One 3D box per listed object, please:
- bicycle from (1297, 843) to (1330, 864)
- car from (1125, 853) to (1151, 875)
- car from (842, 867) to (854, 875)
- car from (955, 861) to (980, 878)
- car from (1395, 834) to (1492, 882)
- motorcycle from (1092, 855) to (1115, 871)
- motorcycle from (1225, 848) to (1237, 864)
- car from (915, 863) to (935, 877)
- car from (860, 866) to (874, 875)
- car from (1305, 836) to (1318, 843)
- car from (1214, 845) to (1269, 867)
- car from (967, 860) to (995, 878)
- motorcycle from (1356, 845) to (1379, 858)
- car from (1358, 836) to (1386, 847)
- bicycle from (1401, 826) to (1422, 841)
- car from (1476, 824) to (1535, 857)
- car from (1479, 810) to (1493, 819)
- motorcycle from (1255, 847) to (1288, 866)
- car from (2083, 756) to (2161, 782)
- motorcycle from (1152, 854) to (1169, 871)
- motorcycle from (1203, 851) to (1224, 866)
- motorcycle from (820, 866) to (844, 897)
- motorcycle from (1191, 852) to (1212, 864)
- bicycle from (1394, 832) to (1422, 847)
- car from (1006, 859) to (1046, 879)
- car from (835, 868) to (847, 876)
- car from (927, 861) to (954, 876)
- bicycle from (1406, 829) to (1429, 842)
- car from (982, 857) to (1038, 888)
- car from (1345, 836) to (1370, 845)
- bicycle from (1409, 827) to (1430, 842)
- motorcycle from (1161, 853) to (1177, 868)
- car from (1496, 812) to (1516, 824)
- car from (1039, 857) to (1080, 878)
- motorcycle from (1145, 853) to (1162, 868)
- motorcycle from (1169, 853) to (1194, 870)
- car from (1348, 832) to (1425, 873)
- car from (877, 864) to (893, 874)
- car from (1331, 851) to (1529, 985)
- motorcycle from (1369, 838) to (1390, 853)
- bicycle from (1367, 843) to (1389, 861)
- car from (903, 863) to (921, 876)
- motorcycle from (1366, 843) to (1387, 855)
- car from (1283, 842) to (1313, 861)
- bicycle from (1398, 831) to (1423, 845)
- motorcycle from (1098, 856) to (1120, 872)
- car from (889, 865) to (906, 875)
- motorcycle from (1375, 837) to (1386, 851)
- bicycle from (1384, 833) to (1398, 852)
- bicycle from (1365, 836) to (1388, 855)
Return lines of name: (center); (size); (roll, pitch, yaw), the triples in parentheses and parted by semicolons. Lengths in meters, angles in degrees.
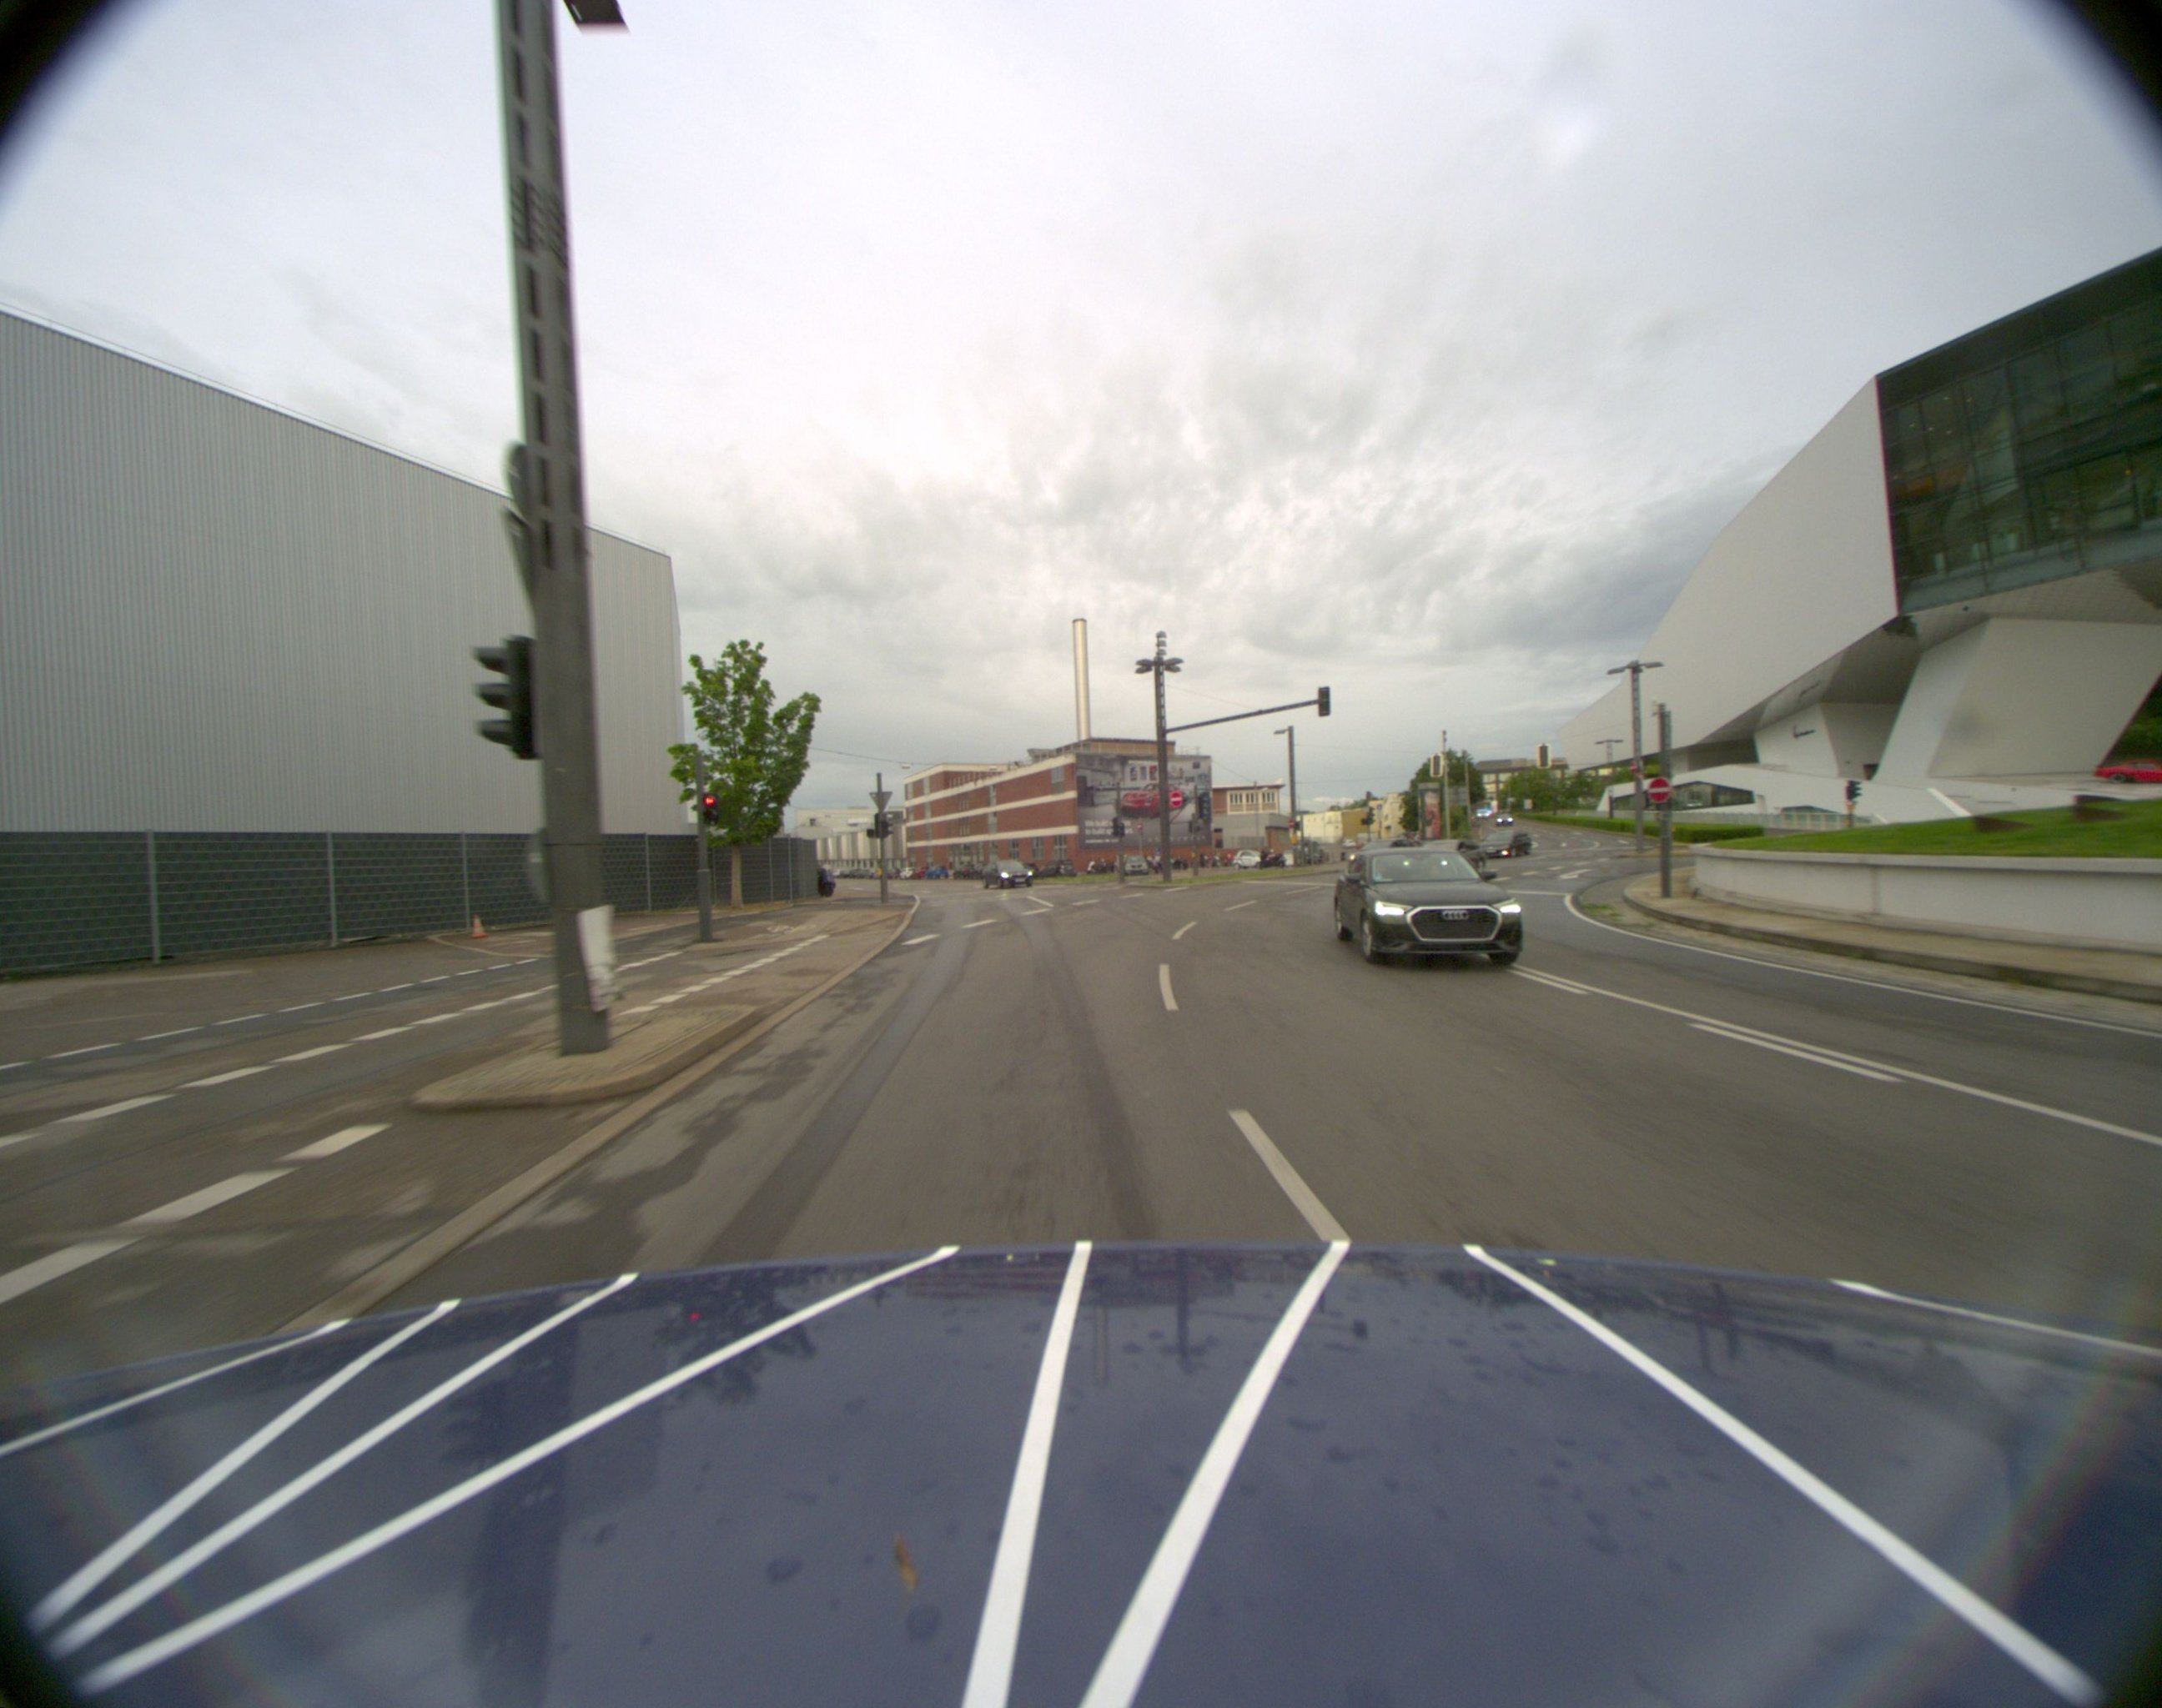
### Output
bicycle: (14.708, -0.016, 48.053); (2.074, 1.124, 0.421); (-6, 2, -17)
car: (4.123, 0.700, 55.284); (1.624, 1.495, 3.247); (-3, 1, 2)
car: (-40.443, 2.999, 131.838); (1.461, 1.234, 3.364); (-6, 2, -24)
car: (-11.243, 1.513, 74.965); (1.461, 1.435, 3.382); (-6, 2, -24)
car: (14.056, 0.134, 29.335); (4.308, 1.430, 1.813); (-6, 3, -42)
motorcycle: (1.813, 0.735, 61.205); (1.649, 1.105, 0.544); (-6, 2, -19)
motorcycle: (13.304, 0.157, 67.236); (0.523, 1.326, 1.671); (-4, 2, 27)
car: (-18.354, 1.832, 89.097); (1.461, 1.435, 3.382); (-6, 2, -24)
car: (-33.288, 2.565, 117.998); (1.461, 1.234, 3.364); (-6, 2, -24)
car: (51.755, -3.145, 170.456); (1.719, 1.417, 4.000); (-3, 1, 2)
car: (12.978, 0.163, 61.437); (3.989, 1.480, 1.571); (-3, 1, 35)
car: (-9.266, 1.351, 70.303); (1.461, 1.435, 3.458); (-6, 2, -24)
motorcycle: (23.274, -0.186, 61.736); (1.613, 0.917, 0.482); (-4, 2, 19)
car: (47.578, -2.062, 124.403); (3.993, 1.417, 1.722); (-3, 1, 13)
bicycle: (27.136, -1.661, 62.383); (1.541, 1.149, 0.451); (-1, 5, 22)
car: (23.741, -0.757, 42.447); (4.075, 1.466, 1.745); (-6, 3, -45)
car: (78.590, -7.622, 147.598); (1.814, 1.430, 4.308); (-2, 1, 21)
motorcycle: (12.452, 0.195, 49.700); (0.489, 1.139, 2.089); (-7, 3, -42)
car: (59.512, -4.737, 42.157); (2.001, 1.378, 4.233); (-4, 9, -20)
motorcycle: (5.762, 0.612, 55.446); (0.495, 1.140, 1.721); (-6, 2, -18)
motorcycle: (11.405, 0.372, 65.419); (1.716, 1.145, 0.586); (-3, 3, 42)
motorcycle: (-11.208, 1.219, 34.106); (0.656, 1.303, 2.097); (-3, 0, -27)
motorcycle: (10.207, 0.349, 64.510); (1.612, 0.968, 0.542); (-3, 3, 42)
bicycle: (22.904, -1.023, 53.198); (1.741, 0.956, 0.422); (-2, 3, 35)
car: (-4.565, 1.199, 62.503); (1.570, 1.435, 4.096); (-6, 2, -29)
car: (-43.362, 3.183, 137.148); (1.461, 1.234, 3.364); (-6, 2, -24)
car: (-15.605, 1.639, 84.503); (1.699, 1.435, 3.381); (-6, 2, -31)
bicycle: (27.102, -1.480, 61.202); (1.704, 0.917, 0.485); (-3, 3, -9)
car: (-3.800, 0.960, 39.950); (1.722, 1.417, 3.993); (-4, 1, -23)
car: (50.011, -2.436, 137.657); (3.993, 1.417, 1.722); (-3, 1, 13)
bicycle: (26.966, -1.550, 60.587); (1.461, 1.068, 0.443); (-3, 4, -4)
motorcycle: (7.148, 0.533, 61.745); (0.477, 1.113, 1.806); (-6, 2, -21)
car: (58.668, -4.932, 104.905); (1.814, 1.430, 4.308); (-2, 1, 21)
car: (-1.634, 1.022, 57.892); (2.744, 1.484, 1.557); (-3, -1, 43)
motorcycle: (5.816, 0.520, 61.146); (0.545, 1.174, 1.710); (-6, 2, -23)
motorcycle: (7.642, 0.565, 57.733); (1.867, 1.105, 0.543); (-6, 3, -27)
car: (13.792, -0.078, 34.227); (4.017, 1.499, 1.690); (-6, 3, -44)
car: (-27.985, 2.157, 108.382); (1.461, 1.234, 3.364); (-6, 2, -24)
car: (4.813, 0.750, 11.144); (1.755, 1.509, 4.398); (-1, 1, 13)
motorcycle: (20.821, -0.614, 52.976); (1.747, 0.890, 0.546); (-6, 4, -40)
bicycle: (20.068, -0.120, 51.276); (1.746, 1.078, 0.347); (-6, 3, -30)
car: (-20.984, 1.927, 94.380); (1.461, 1.368, 3.382); (-6, 2, -24)
motorcycle: (25.342, -0.420, 65.202); (1.614, 0.917, 0.422); (-5, 2, 12)
car: (20.373, -0.273, 71.265); (1.885, 1.542, 4.514); (-3, 1, 26)
bicycle: (24.107, -1.172, 55.583); (1.612, 0.916, 0.422); (-2, 2, 38)
motorcycle: (2.246, 0.786, 60.421); (1.603, 1.114, 0.544); (-6, 2, -19)
car: (-24.786, 2.124, 102.533); (1.461, 1.234, 3.364); (-6, 2, -24)
motorcycle: (21.401, -0.695, 54.361); (0.433, 0.885, 1.266); (-2, 3, 34)
bicycle: (21.450, -0.821, 52.560); (0.399, 1.169, 2.018); (-2, 3, 36)
bicycle: (19.633, -0.565, 50.455); (1.746, 1.078, 0.347); (-6, 3, -30)
